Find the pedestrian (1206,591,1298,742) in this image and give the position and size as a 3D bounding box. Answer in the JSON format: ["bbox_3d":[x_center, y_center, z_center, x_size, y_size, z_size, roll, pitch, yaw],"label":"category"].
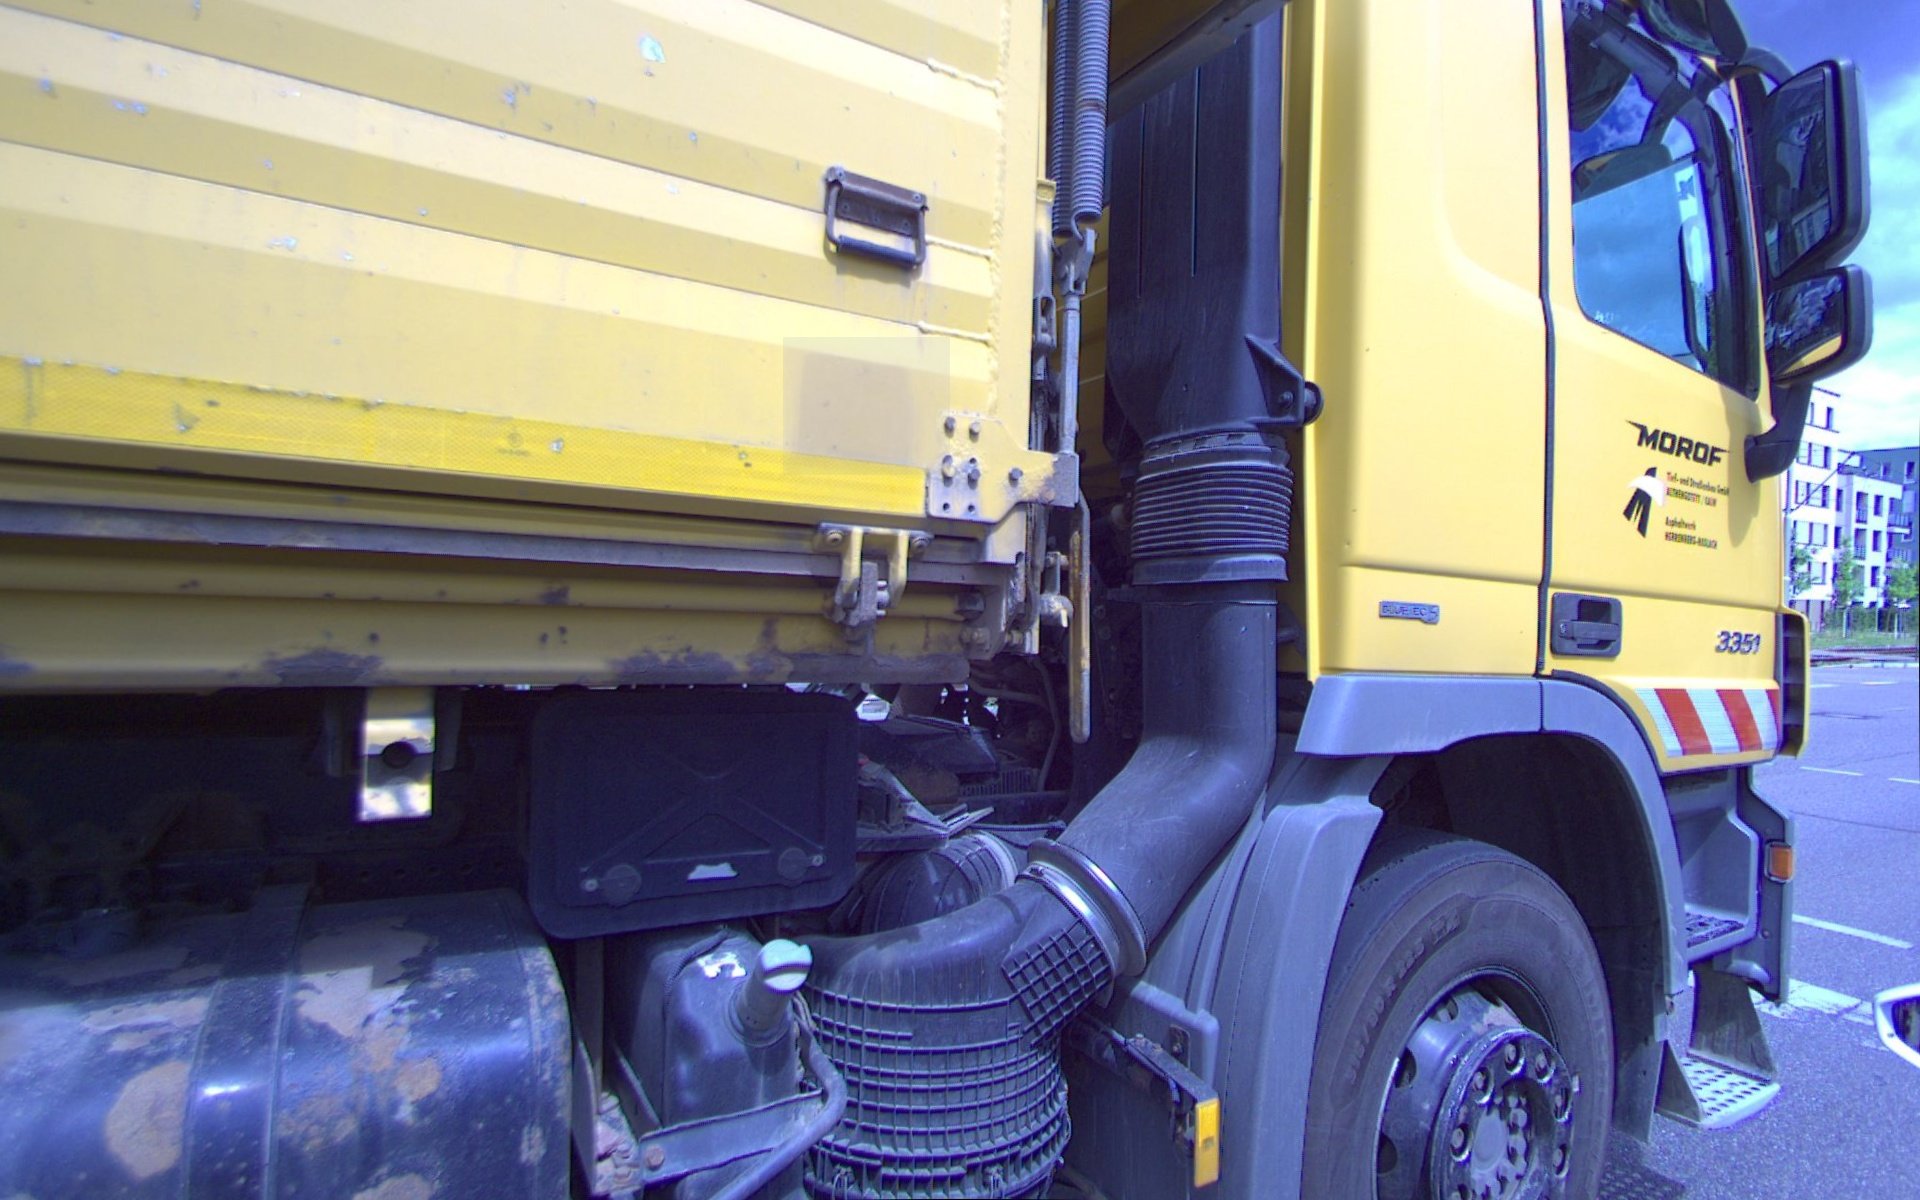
[{"bbox_3d":[3.330,0.739,11.502,0.720,1.662,0.824,1,1,-7],"label":"pedestrian"}]

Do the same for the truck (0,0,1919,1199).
[{"bbox_3d":[-1.743,-0.235,1.665,7.916,3.439,3.033,1,0,-32],"label":"truck"}]

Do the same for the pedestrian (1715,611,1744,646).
[{"bbox_3d":[34.045,1.247,44.443,0.628,1.536,0.827,1,0,-30],"label":"pedestrian"}]

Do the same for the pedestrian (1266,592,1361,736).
[{"bbox_3d":[4.236,0.746,12.076,0.751,1.656,0.870,1,0,-7],"label":"pedestrian"}]

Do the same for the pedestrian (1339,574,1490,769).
[{"bbox_3d":[4.466,0.660,9.901,0.939,1.798,1.003,1,0,-34],"label":"pedestrian"}]

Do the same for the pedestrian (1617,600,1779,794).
[{"bbox_3d":[6.481,0.799,8.836,0.836,1.573,0.939,1,0,-37],"label":"pedestrian"}]
